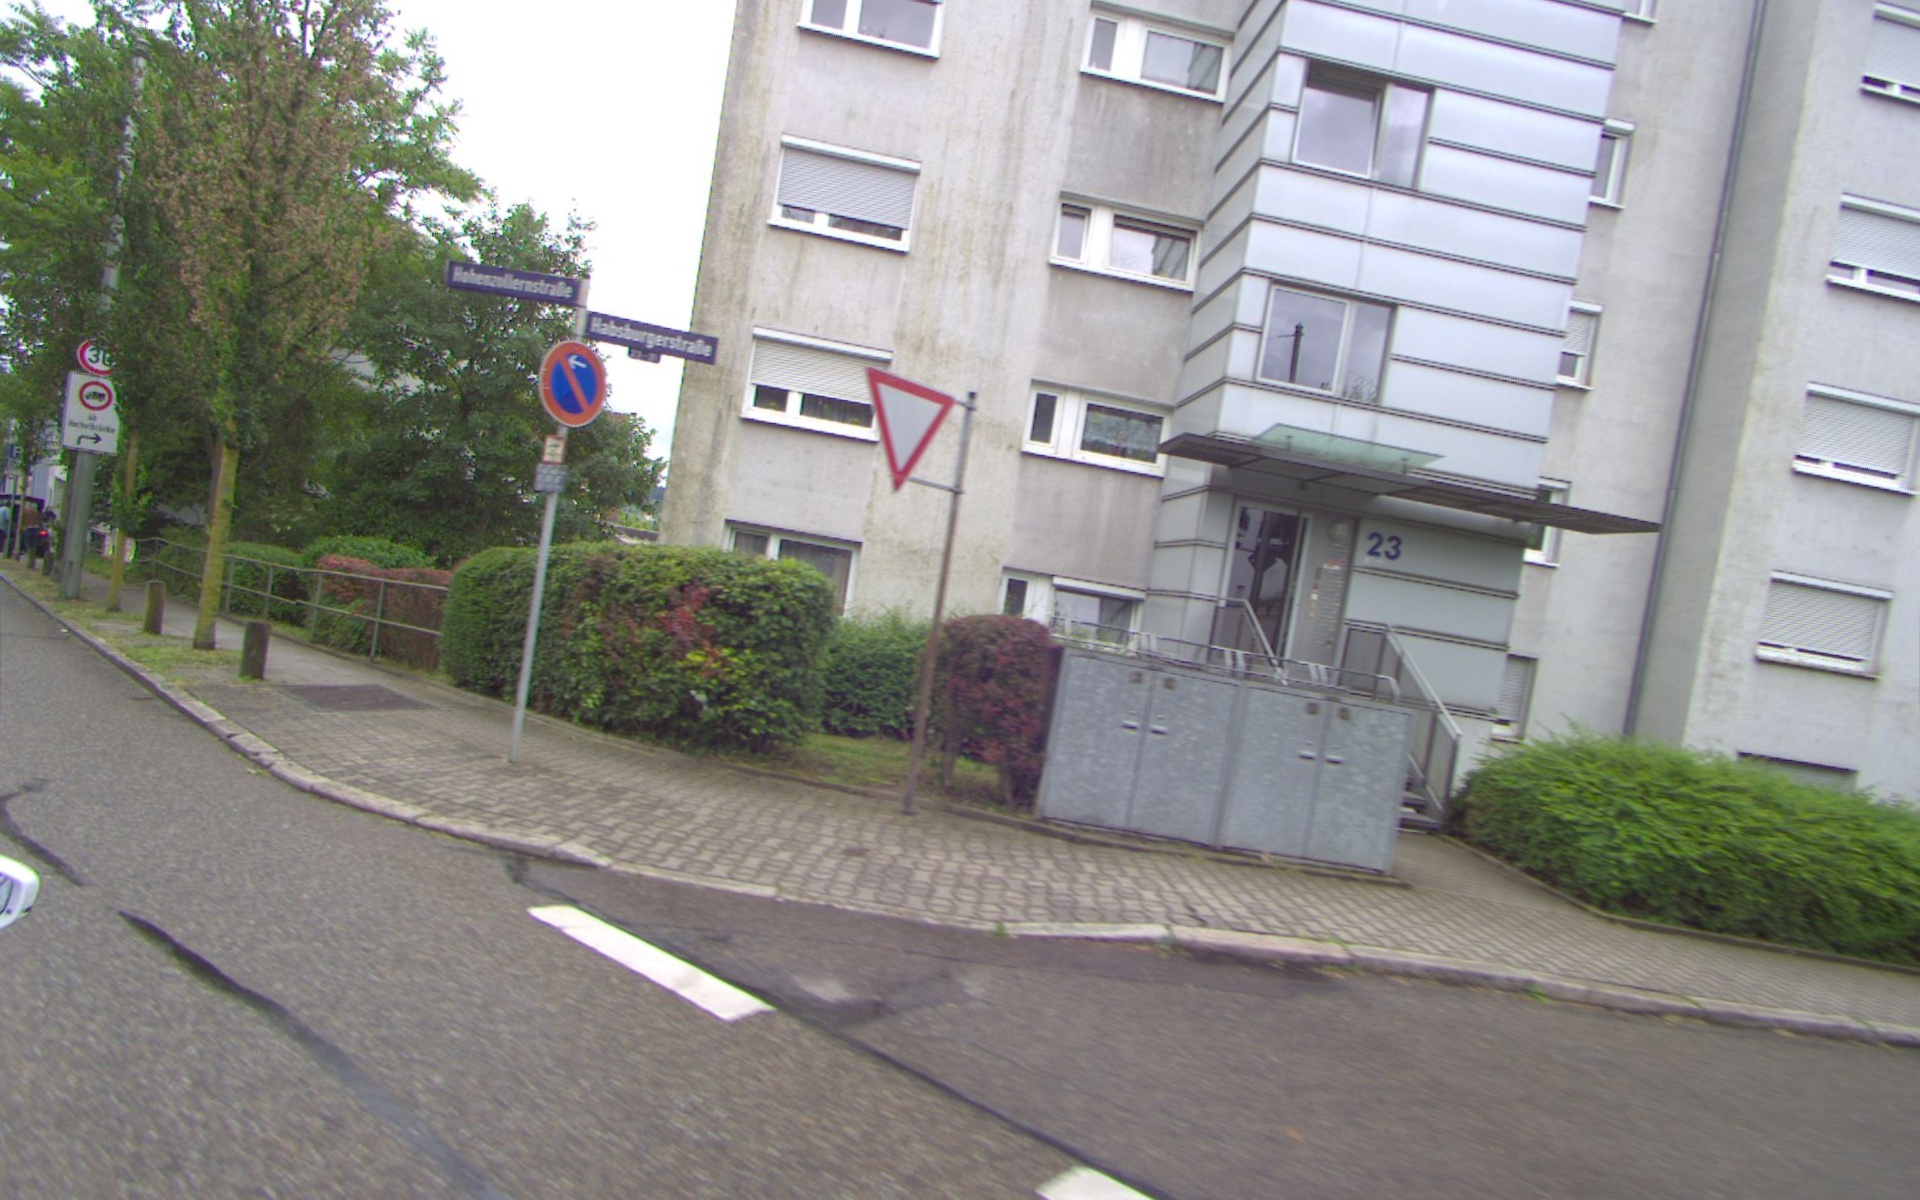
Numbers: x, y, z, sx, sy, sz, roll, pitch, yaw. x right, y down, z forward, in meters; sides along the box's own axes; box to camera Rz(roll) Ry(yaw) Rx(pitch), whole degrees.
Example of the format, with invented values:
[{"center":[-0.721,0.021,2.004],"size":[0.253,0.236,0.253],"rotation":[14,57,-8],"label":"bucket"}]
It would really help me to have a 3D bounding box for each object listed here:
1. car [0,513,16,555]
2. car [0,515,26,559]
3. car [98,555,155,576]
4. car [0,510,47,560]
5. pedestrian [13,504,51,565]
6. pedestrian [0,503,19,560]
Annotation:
[{"center":[-39.355,-2.776,40.501],"size":[3.948,1.590,1.682],"rotation":[6,-1,44],"label":"car"},{"center":[-35.979,-2.454,37.320],"size":[3.948,1.482,1.678],"rotation":[6,-1,44],"label":"car"},{"center":[-77.000,-3.189,93.006],"size":[3.824,1.498,1.811],"rotation":[4,1,-35],"label":"car"},{"center":[-31.780,-2.194,33.547],"size":[3.946,1.452,1.501],"rotation":[4,-2,42],"label":"car"},{"center":[-29.786,-2.089,32.300],"size":[0.681,1.860,0.660],"rotation":[5,1,-30],"label":"pedestrian"},{"center":[-30.417,-2.195,31.724],"size":[0.751,1.746,0.737],"rotation":[6,1,18],"label":"pedestrian"}]
